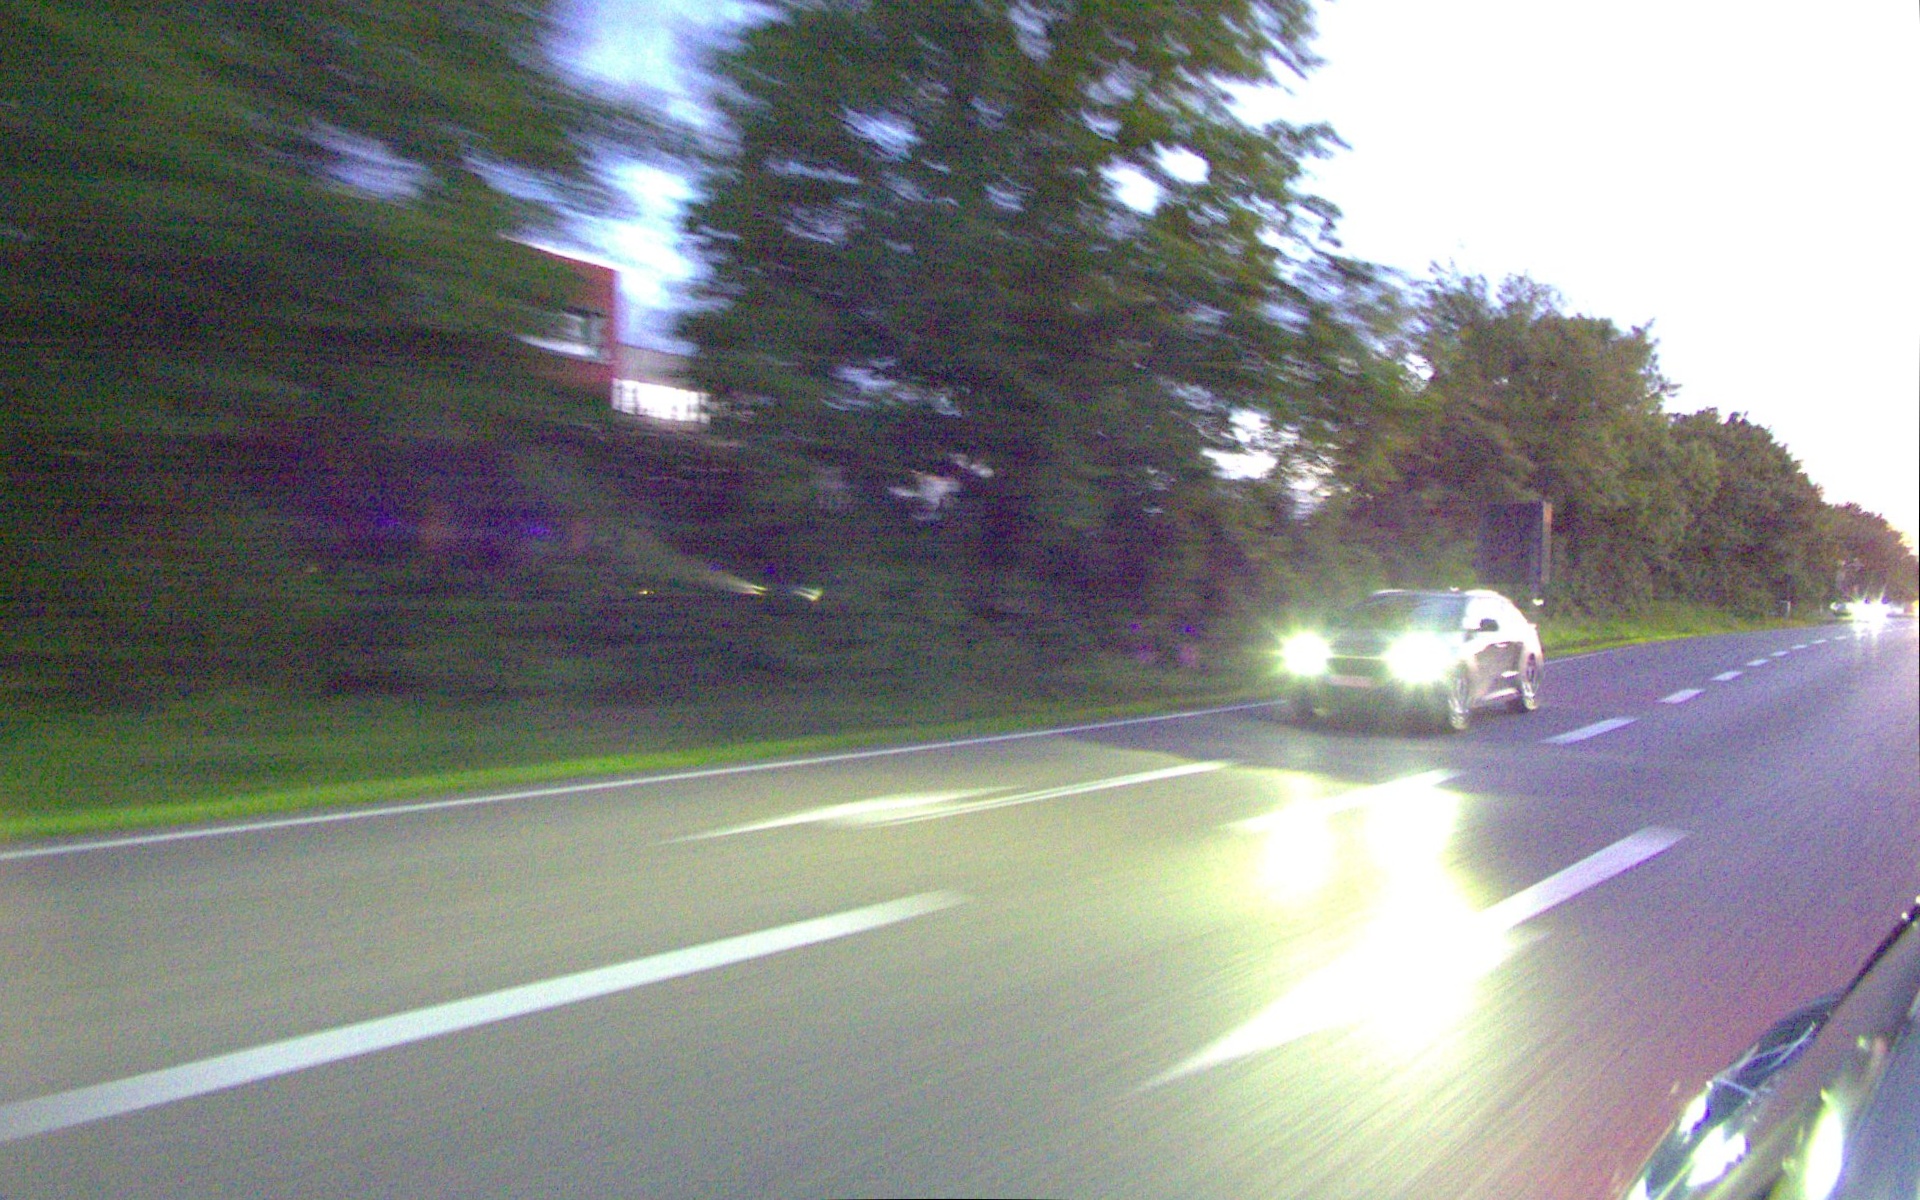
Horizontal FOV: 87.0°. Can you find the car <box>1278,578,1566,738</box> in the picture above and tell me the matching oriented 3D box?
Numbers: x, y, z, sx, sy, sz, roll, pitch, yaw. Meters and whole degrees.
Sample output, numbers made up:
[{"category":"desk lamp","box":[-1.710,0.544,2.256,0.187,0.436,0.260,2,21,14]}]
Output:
[{"category":"car","box":[5.960,0.583,12.773,1.902,1.640,4.483,1,1,44]}]
